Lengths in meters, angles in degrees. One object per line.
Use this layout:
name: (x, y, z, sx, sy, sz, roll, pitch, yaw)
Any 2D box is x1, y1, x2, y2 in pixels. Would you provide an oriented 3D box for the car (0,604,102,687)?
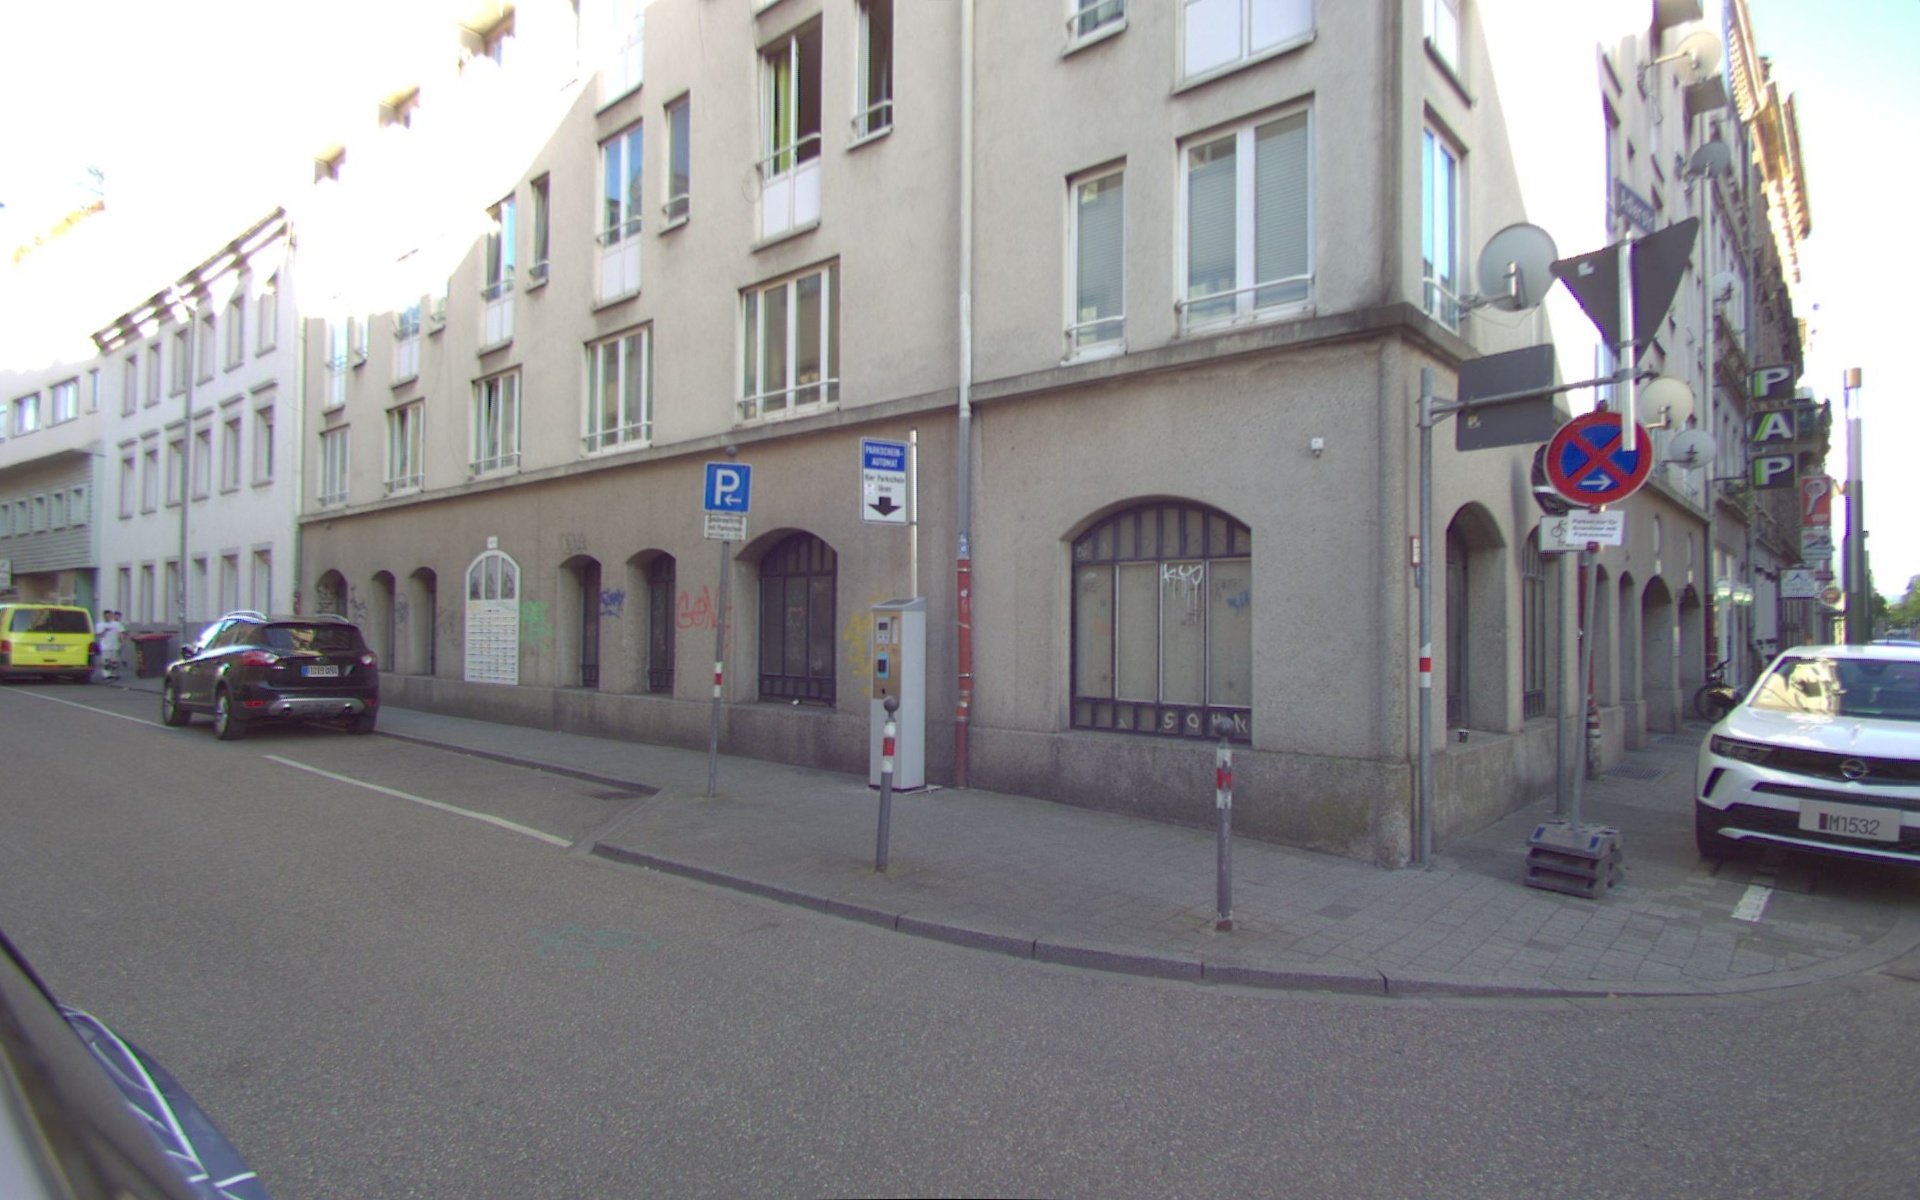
car: (-23.192, 1.117, 25.037, 4.855, 1.881, 1.863, -1, -4, 37)

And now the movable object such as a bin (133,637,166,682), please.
movable object such as a bin: (-20.219, 1.482, 25.260, 0.432, 1.113, 0.535, -1, -3, 38)

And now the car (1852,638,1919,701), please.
car: (23.295, 1.667, 24.961, 3.529, 1.453, 1.683, 2, -3, -44)

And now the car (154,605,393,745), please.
car: (-9.960, 1.019, 14.567, 4.187, 1.724, 1.722, -1, -5, 40)

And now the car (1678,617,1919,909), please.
car: (6.825, 0.988, 7.258, 3.936, 1.668, 1.766, 2, -3, -40)

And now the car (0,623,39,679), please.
car: (-27.672, 1.392, 28.373, 4.066, 1.497, 1.803, -1, -4, 35)

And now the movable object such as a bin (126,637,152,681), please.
movable object such as a bin: (-20.816, 1.486, 25.652, 0.433, 1.113, 0.406, -1, -3, 38)
